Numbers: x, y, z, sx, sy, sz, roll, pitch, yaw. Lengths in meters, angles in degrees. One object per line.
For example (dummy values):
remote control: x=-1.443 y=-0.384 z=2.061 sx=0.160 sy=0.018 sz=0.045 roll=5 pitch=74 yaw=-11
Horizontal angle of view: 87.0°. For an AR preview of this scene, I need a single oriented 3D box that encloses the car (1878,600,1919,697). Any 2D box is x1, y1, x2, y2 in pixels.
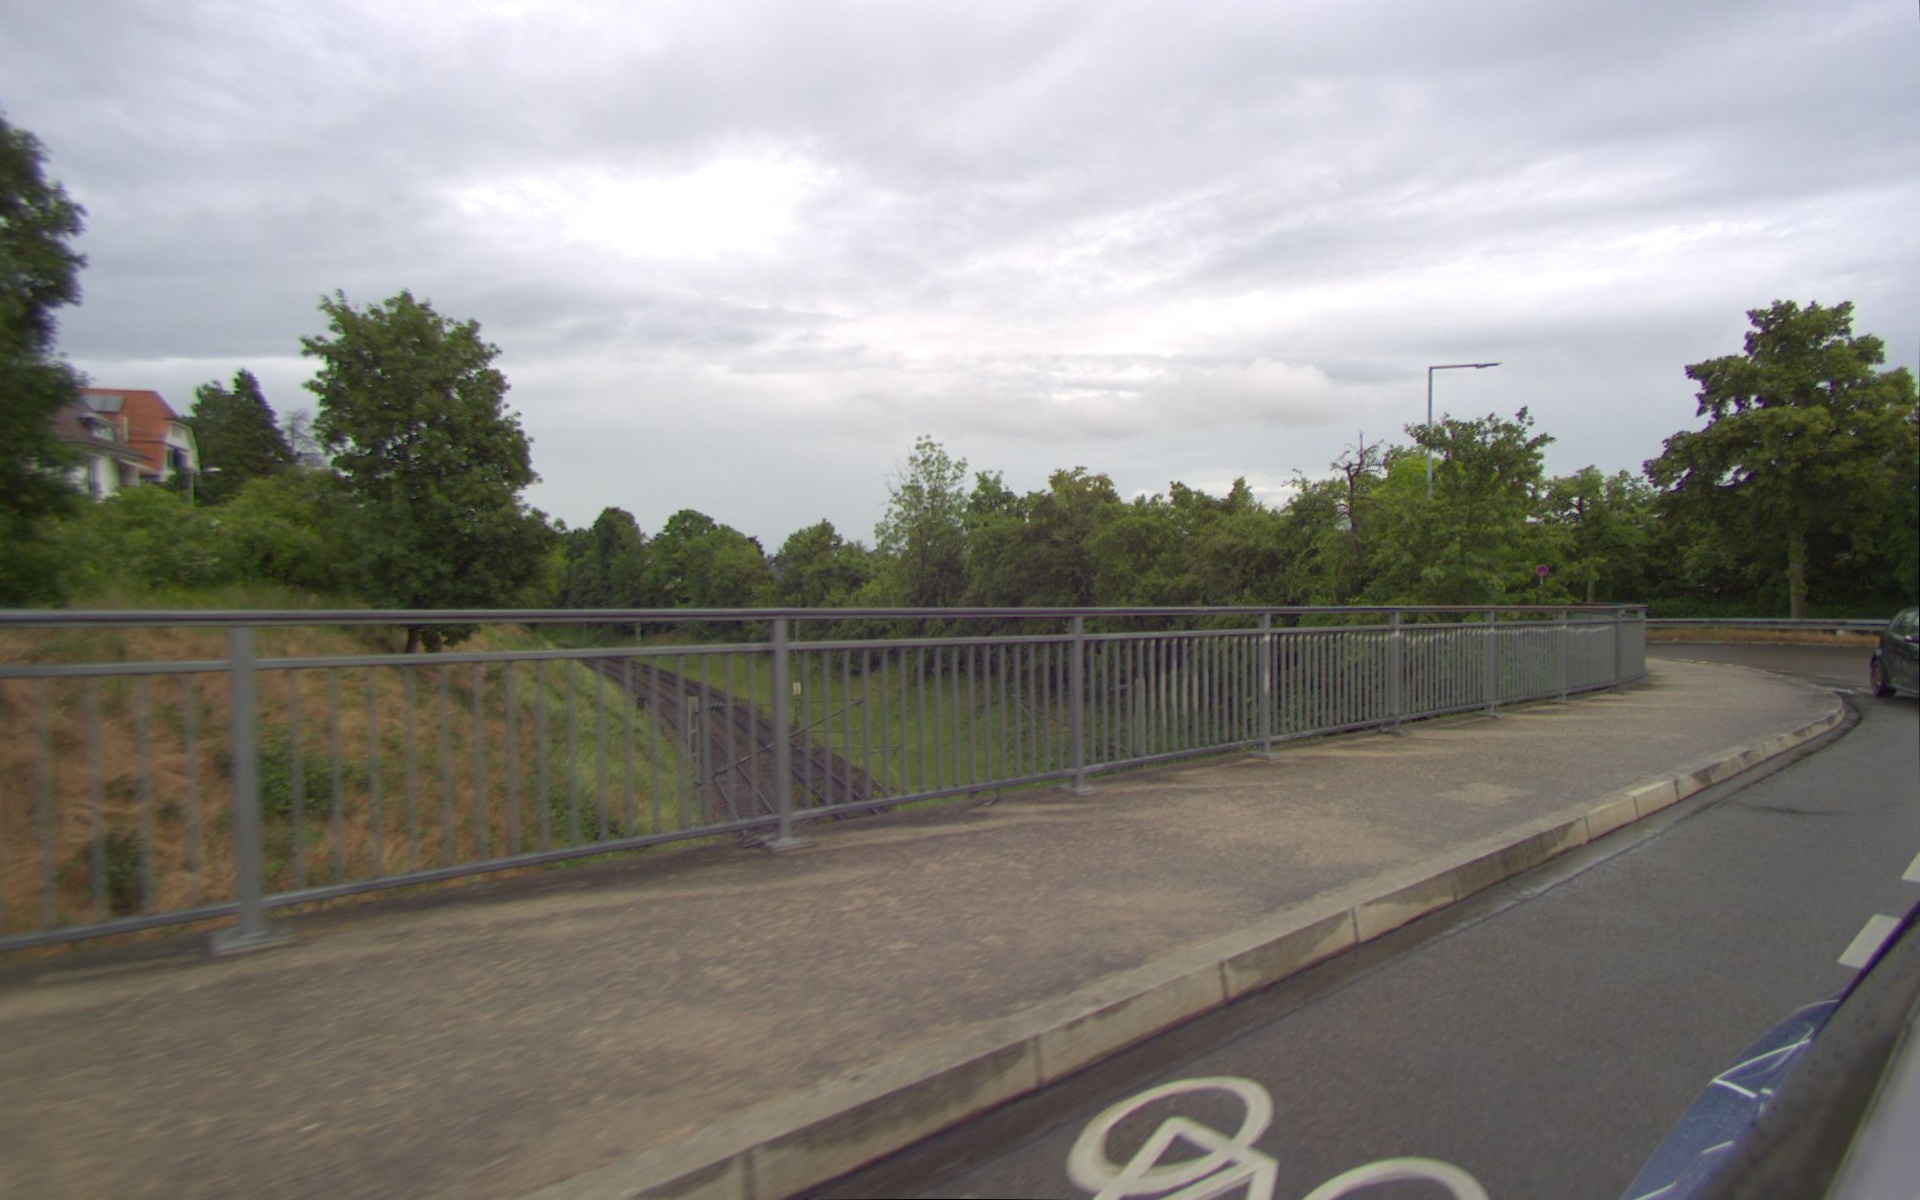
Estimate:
car: x=14.901 y=0.715 z=14.544 sx=1.666 sy=1.431 sz=3.601 roll=0 pitch=-1 yaw=28
